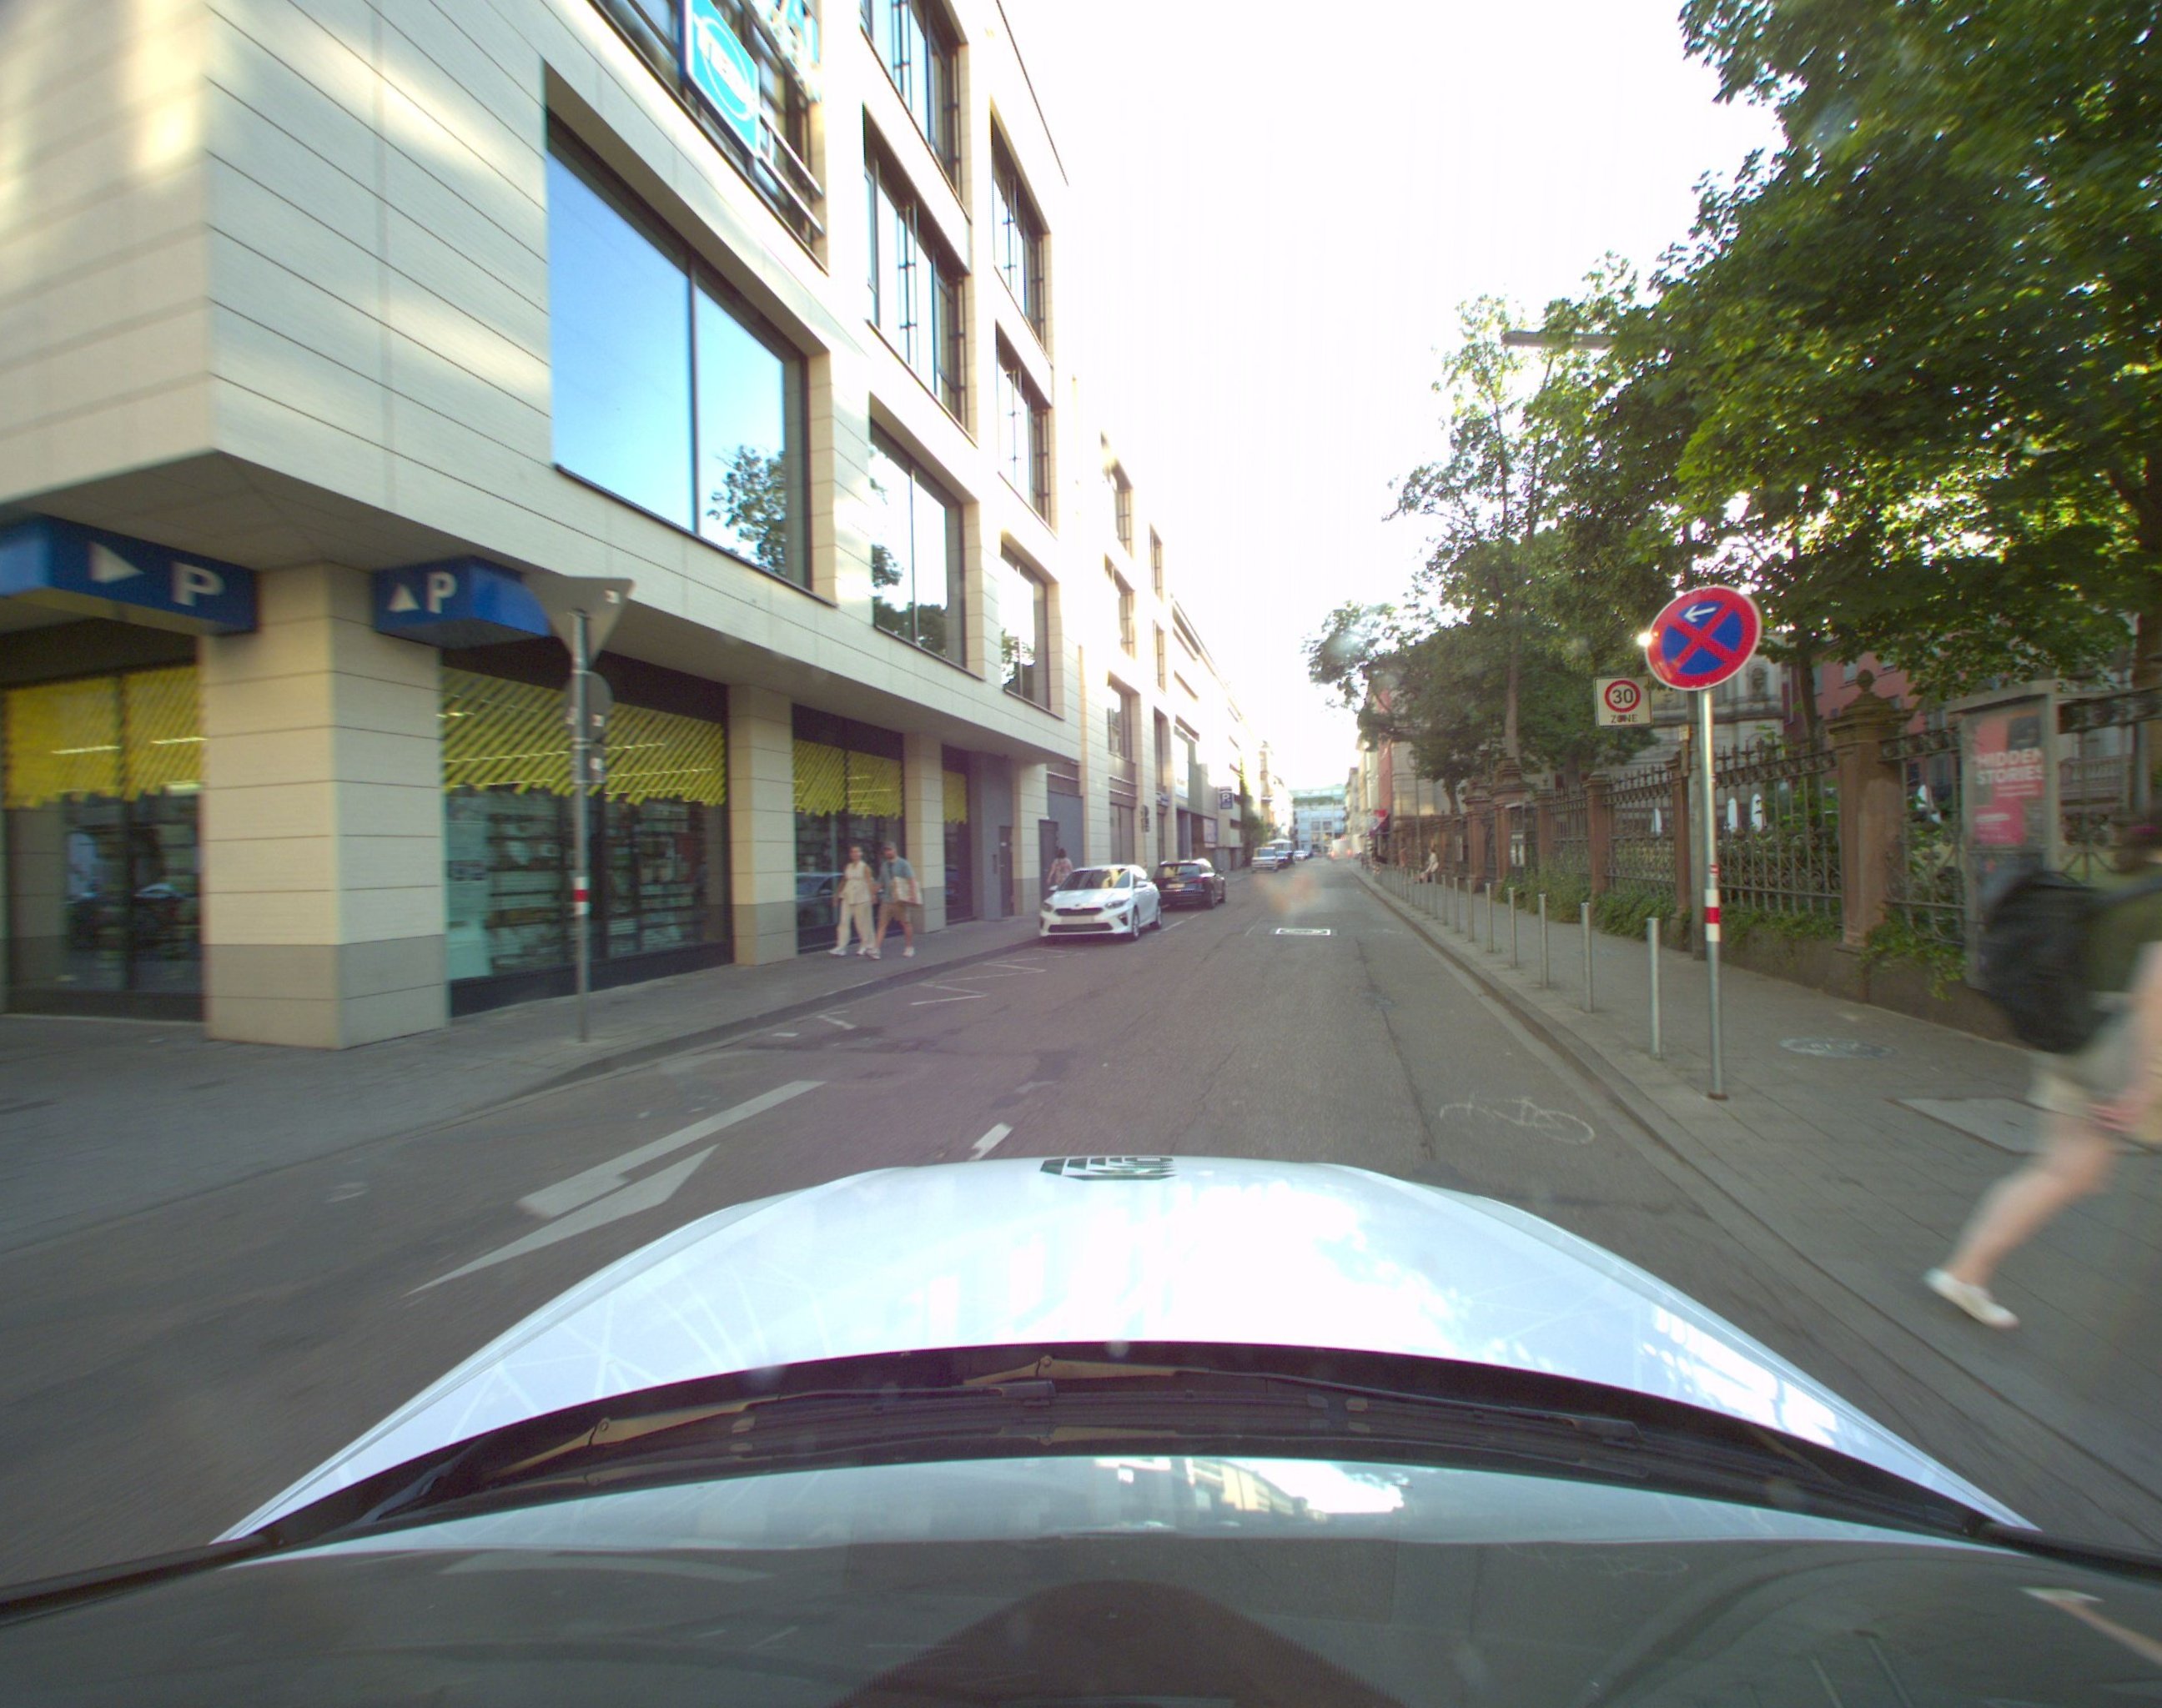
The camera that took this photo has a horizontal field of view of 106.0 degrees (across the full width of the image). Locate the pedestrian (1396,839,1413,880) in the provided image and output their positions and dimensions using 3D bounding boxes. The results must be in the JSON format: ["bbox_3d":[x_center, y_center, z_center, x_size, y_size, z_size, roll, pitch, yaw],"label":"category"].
[{"bbox_3d":[13.421,0.225,33.796,0.481,1.658,0.620,-3,-1,10],"label":"pedestrian"}]

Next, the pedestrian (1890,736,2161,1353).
[{"bbox_3d":[3.193,0.528,2.552,0.641,1.723,0.835,-1,0,-39],"label":"pedestrian"}]

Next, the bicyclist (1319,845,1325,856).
[{"bbox_3d":[43.840,-0.625,148.213,0.982,1.868,0.711,-2,-1,17],"label":"bicyclist"}]

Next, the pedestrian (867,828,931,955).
[{"bbox_3d":[-2.722,0.553,12.198,0.667,1.836,0.650,-2,0,14],"label":"pedestrian"}]

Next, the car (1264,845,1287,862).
[{"bbox_3d":[17.436,-0.053,72.857,1.869,1.453,4.017,-2,0,15],"label":"car"}]

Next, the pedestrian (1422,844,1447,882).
[{"bbox_3d":[14.368,0.352,33.115,0.744,1.500,0.621,-4,-1,11],"label":"pedestrian"}]

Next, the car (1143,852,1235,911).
[{"bbox_3d":[3.429,0.770,25.093,1.868,1.598,4.712,-2,0,19],"label":"car"}]

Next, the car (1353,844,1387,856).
[{"bbox_3d":[36.066,-0.461,101.636,3.956,1.420,1.664,-1,-1,17],"label":"car"}]

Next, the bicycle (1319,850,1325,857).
[{"bbox_3d":[43.909,-0.126,148.390,0.967,1.280,2.766,-2,-1,17],"label":"bicycle"}]

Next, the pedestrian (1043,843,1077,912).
[{"bbox_3d":[-0.554,0.608,21.330,0.666,1.744,0.650,-2,0,17],"label":"pedestrian"}]

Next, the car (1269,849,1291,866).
[{"bbox_3d":[18.993,0.324,77.440,1.869,1.453,4.017,-2,0,15],"label":"car"}]

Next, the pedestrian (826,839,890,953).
[{"bbox_3d":[-3.377,0.620,12.359,0.667,1.675,0.650,-2,0,14],"label":"pedestrian"}]

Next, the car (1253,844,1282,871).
[{"bbox_3d":[14.221,0.241,61.846,1.869,1.912,4.767,-2,0,15],"label":"car"}]

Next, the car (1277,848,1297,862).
[{"bbox_3d":[21.769,0.082,86.024,1.869,1.453,4.017,-2,0,15],"label":"car"}]

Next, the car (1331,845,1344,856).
[{"bbox_3d":[40.115,-0.550,127.449,1.978,1.684,4.018,-1,-1,17],"label":"car"}]

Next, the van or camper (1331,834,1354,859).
[{"bbox_3d":[29.621,-0.825,92.314,2.240,2.607,5.134,-6,-2,17],"label":"van or camper"}]

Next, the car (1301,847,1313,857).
[{"bbox_3d":[39.151,-0.406,141.016,1.978,1.684,4.018,-1,-1,17],"label":"car"}]

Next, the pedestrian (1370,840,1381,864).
[{"bbox_3d":[21.723,-0.152,60.021,0.656,1.666,0.627,-4,-1,17],"label":"pedestrian"}]

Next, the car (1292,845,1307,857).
[{"bbox_3d":[31.957,-0.438,119.035,1.978,1.684,4.018,-1,-1,17],"label":"car"}]

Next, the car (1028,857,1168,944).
[{"bbox_3d":[0.494,0.840,16.363,1.764,1.453,4.248,-2,0,15],"label":"car"}]

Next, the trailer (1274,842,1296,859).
[{"bbox_3d":[20.416,-0.352,81.583,1.978,1.557,4.016,-1,-1,16],"label":"trailer"}]
